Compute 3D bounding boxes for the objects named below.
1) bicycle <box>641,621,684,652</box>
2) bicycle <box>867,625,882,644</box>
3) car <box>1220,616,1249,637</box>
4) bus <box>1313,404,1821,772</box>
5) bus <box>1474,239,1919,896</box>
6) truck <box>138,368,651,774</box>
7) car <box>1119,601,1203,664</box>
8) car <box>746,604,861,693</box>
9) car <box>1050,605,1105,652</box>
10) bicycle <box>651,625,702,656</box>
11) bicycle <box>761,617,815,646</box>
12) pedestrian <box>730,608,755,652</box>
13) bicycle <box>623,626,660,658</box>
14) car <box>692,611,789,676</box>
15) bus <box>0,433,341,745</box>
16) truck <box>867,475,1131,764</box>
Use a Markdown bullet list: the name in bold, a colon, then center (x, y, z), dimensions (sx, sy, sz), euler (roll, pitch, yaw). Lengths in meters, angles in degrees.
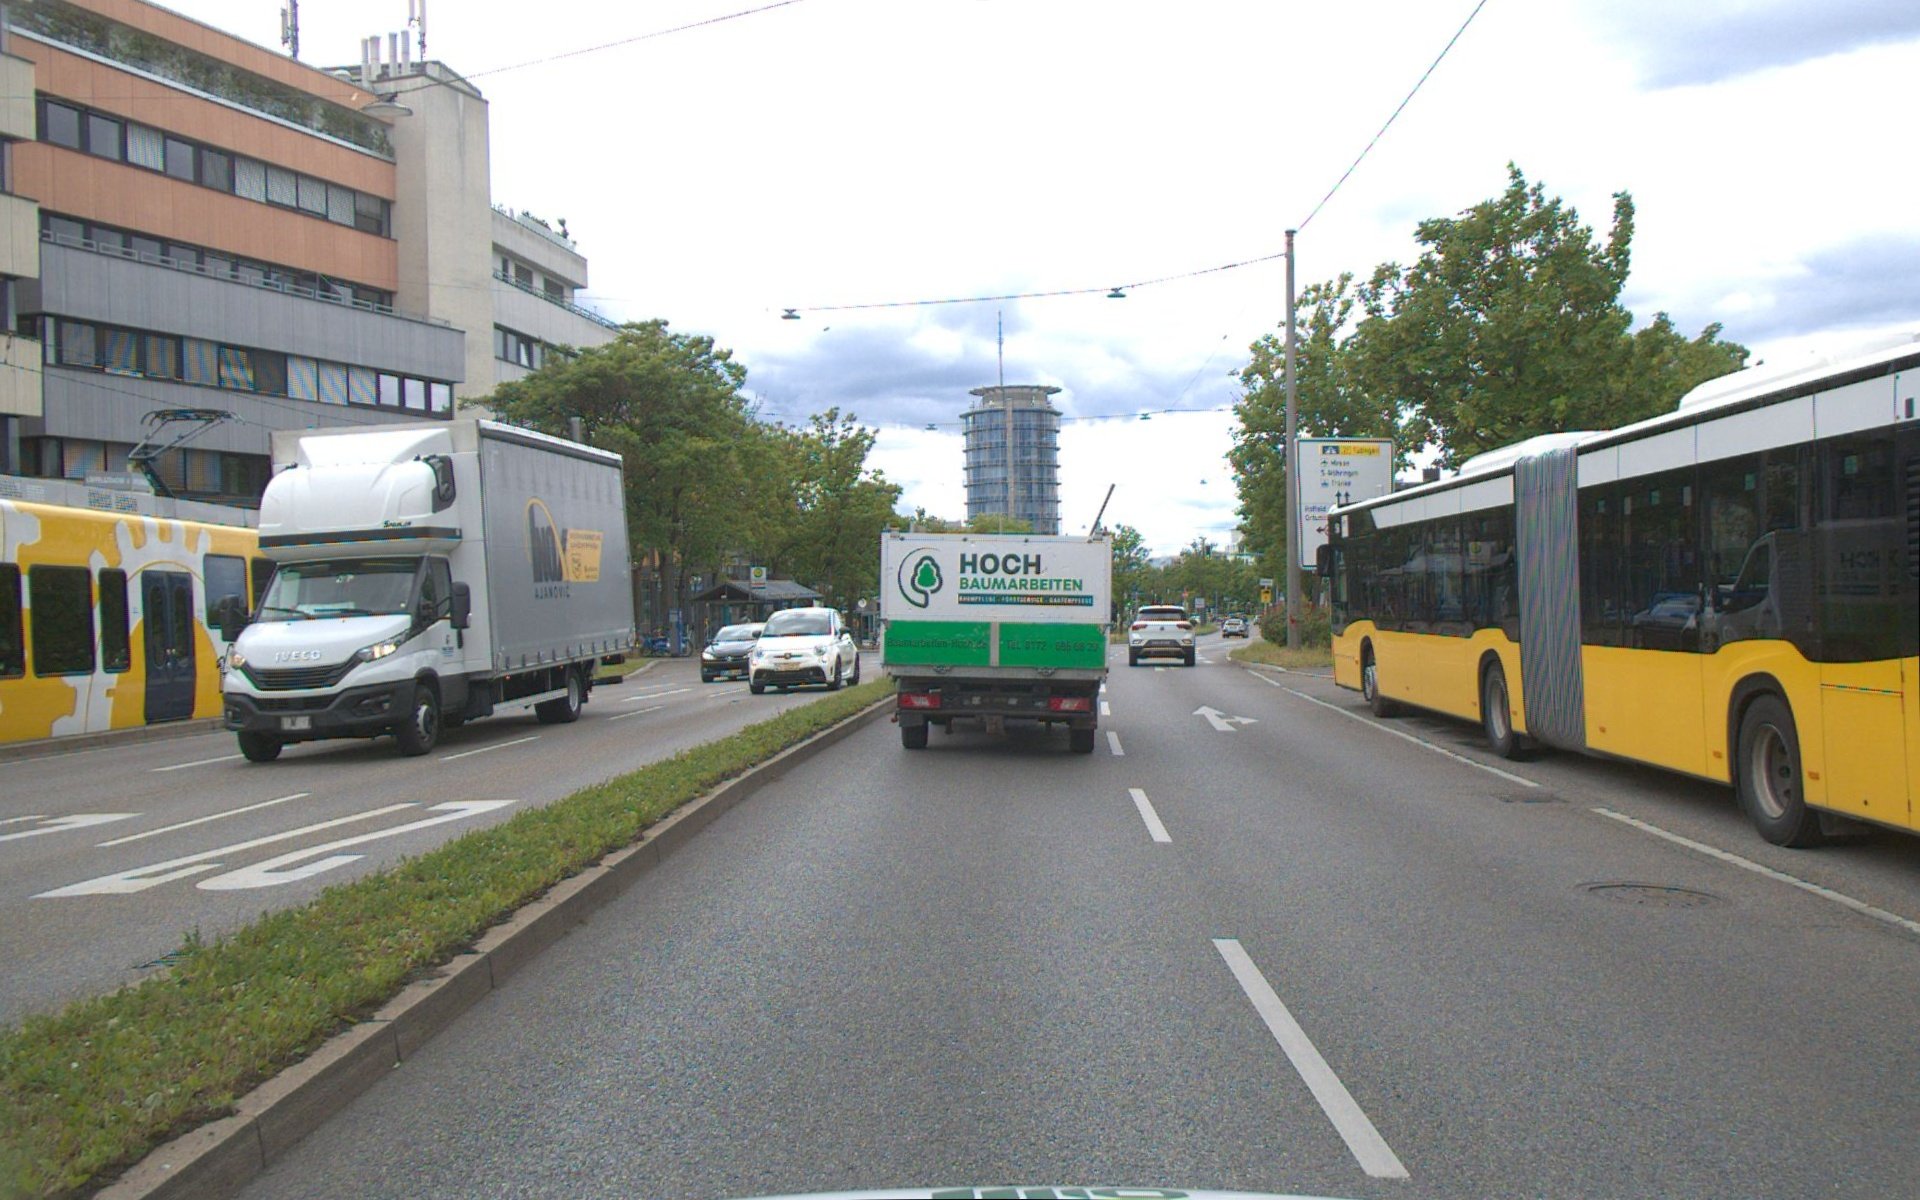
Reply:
- **bicycle**: center (-11.944, 1.470, 66.465), dimensions (0.594, 1.181, 1.678), euler (-2, 0, 44)
- **bicycle**: center (-5.214, 2.098, 100.908), dimensions (0.813, 1.102, 1.936), euler (-2, -1, 0)
- **car**: center (20.973, 2.015, 126.333), dimensions (1.951, 1.579, 4.003), euler (-2, -1, 7)
- **bus**: center (6.633, -0.090, 20.151), dimensions (2.920, 3.298, 9.869), euler (2, 0, 3)
- **bus**: center (6.402, -0.190, 11.393), dimensions (2.973, 3.292, 9.340), euler (-2, 0, 2)
- **truck**: center (-6.565, -0.308, 21.230), dimensions (2.877, 4.027, 9.169), euler (-1, 0, 3)
- **car**: center (5.396, 0.838, 44.909), dimensions (1.829, 1.531, 4.774), euler (-1, 0, 2)
- **car**: center (-2.826, 0.852, 30.573), dimensions (1.554, 1.528, 3.720), euler (-1, 0, 3)
- **car**: center (4.185, 0.979, 58.709), dimensions (1.828, 1.531, 4.776), euler (-1, 0, 4)
- **bicycle**: center (-11.034, 1.563, 64.416), dimensions (1.950, 1.181, 0.595), euler (0, 0, -45)
- **bicycle**: center (-9.461, 1.721, 90.905), dimensions (2.837, 1.533, 0.599), euler (-2, -1, 5)
- **pedestrian**: center (-9.440, 1.309, 71.830), dimensions (0.688, 1.854, 1.214), euler (0, -1, 10)
- **bicycle**: center (-12.524, 1.653, 65.119), dimensions (0.590, 1.181, 1.966), euler (-2, 0, 16)
- **car**: center (-5.190, 0.991, 39.503), dimensions (1.474, 1.368, 3.951), euler (-3, 0, 4)
- **bus**: center (-13.936, -0.085, 21.797), dimensions (3.797, 3.927, 19.344), euler (-2, 0, 1)
- **truck**: center (0.554, 0.163, 18.512), dimensions (2.419, 2.657, 6.550), euler (0, 0, 3)
